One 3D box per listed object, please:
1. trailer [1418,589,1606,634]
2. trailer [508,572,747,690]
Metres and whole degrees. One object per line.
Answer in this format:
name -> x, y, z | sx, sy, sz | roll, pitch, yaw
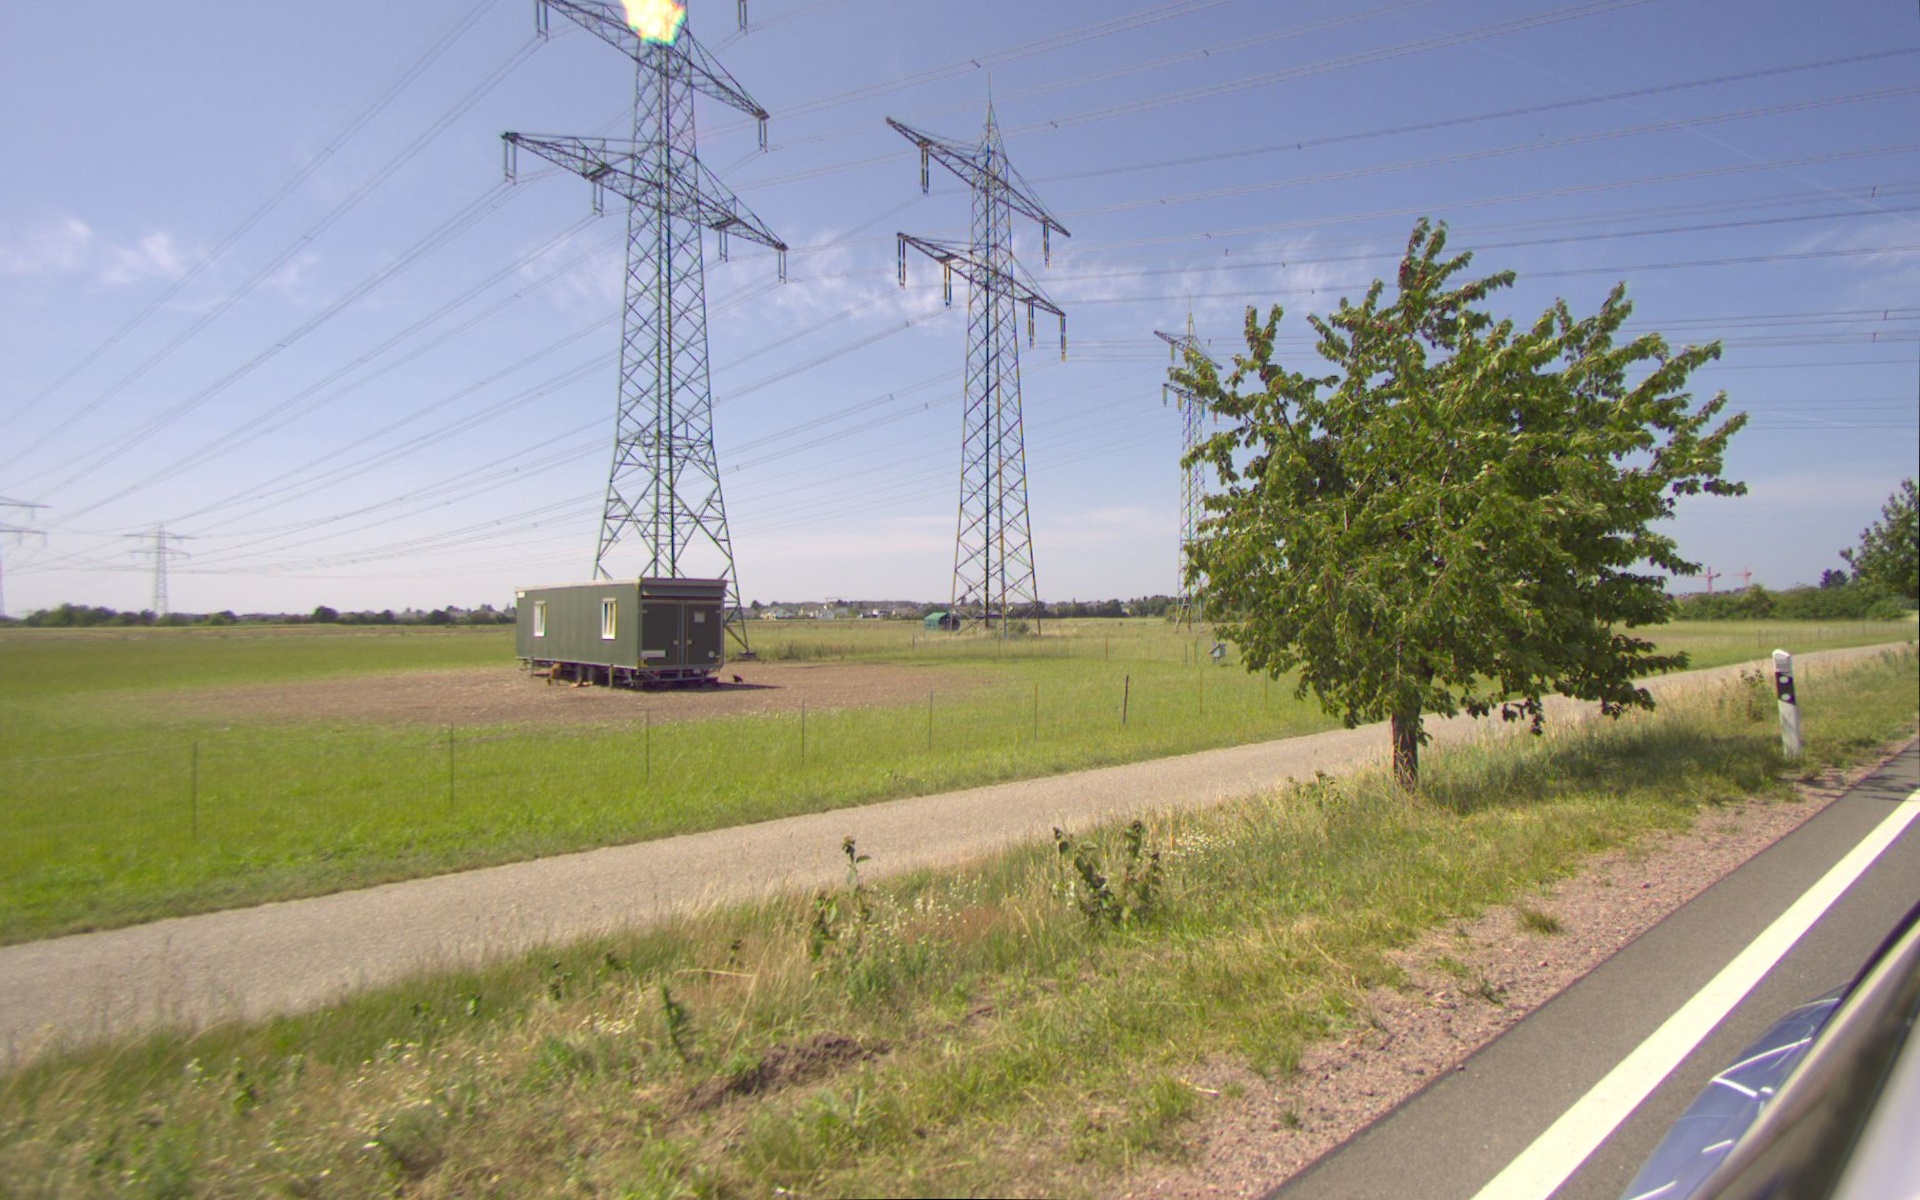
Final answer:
trailer -> 45.606, 1.001, 84.294 | 3.217, 3.520, 13.537 | 0, -1, -39
trailer -> -12.280, 1.030, 36.100 | 3.738, 3.517, 12.431 | 0, -1, -40
